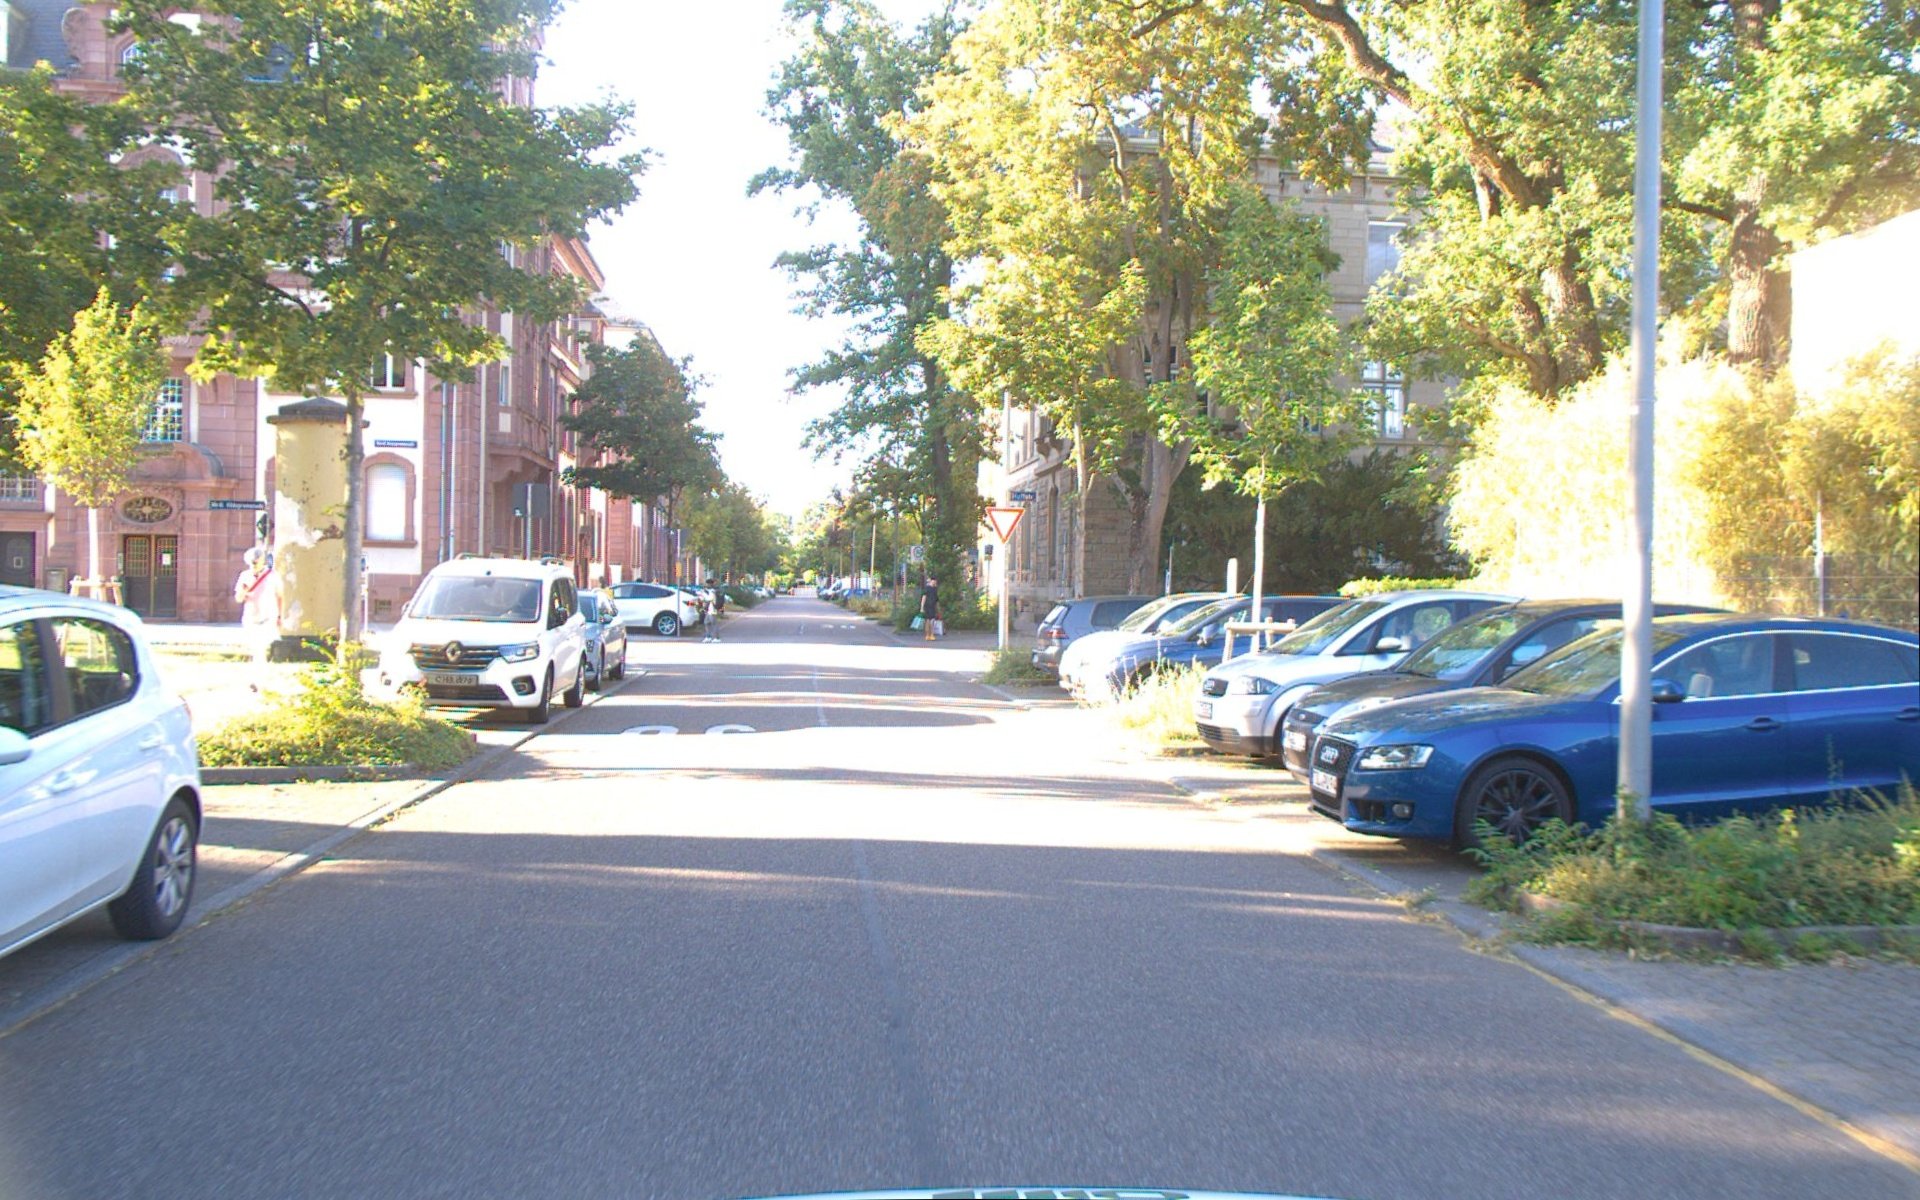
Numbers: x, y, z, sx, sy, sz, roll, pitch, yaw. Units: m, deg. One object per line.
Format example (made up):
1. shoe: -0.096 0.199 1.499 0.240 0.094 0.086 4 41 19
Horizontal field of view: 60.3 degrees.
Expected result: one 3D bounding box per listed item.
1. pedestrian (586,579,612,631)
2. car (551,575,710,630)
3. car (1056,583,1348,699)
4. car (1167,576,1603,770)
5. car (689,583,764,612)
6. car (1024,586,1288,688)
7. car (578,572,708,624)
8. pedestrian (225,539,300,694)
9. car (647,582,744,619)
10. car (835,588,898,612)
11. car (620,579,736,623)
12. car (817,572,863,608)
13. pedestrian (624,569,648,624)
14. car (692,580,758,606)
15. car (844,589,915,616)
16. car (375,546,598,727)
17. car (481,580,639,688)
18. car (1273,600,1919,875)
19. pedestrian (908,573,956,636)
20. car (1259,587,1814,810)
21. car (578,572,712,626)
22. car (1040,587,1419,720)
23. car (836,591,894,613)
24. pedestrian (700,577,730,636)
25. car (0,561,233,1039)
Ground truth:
1. pedestrian: -13.767 0.195 63.076 0.778 1.996 0.712 1 -1 -34
2. car: -10.317 0.074 52.056 4.751 1.622 1.839 1 0 -8
3. car: 3.398 0.564 23.651 3.875 1.543 1.674 1 0 -3
4. car: 3.825 0.617 15.071 3.436 1.612 1.755 1 0 -16
5. car: -13.975 -0.151 99.118 4.398 1.636 1.839 1 0 -8
6. car: 3.047 0.594 26.198 3.876 1.543 1.872 0 -2 -5
7. car: -11.190 -0.066 58.698 4.398 1.747 1.839 1 0 -8
8. pedestrian: -8.424 0.192 20.010 0.588 1.815 0.944 1 0 -9
9. car: -12.384 0.011 77.612 4.398 1.636 1.839 1 0 -8
10. car: -6.946 -0.010 122.682 4.497 1.636 1.839 1 0 -8
11. car: -11.082 0.037 65.163 4.398 1.636 1.839 1 0 -8
12. car: -12.967 -1.068 178.229 4.792 3.681 1.840 1 0 -7
13. pedestrian: -11.842 -0.111 60.438 0.771 1.996 0.718 1 -1 -14
14. car: -15.989 -0.463 112.772 4.398 1.636 1.839 1 0 -8
15. car: -5.162 0.157 105.617 4.398 1.636 1.839 1 0 -8
16. car: -5.455 0.366 19.607 1.747 1.873 4.547 1 0 -6
17. car: -6.244 0.478 26.294 1.746 1.531 4.548 1 0 -5
18. car: 4.412 0.759 10.263 4.499 1.439 1.921 -1 -1 -5
19. pedestrian: -0.848 0.145 50.405 1.052 1.890 0.989 1 0 -37
20. car: 4.329 0.703 12.702 3.613 1.550 1.788 1 0 -9
21. car: -10.725 -0.037 56.572 4.398 1.747 1.839 1 0 -8
22. car: 3.371 0.653 21.083 4.407 1.576 1.887 1 0 -9
23. car: -7.557 0.138 131.197 4.497 1.636 1.839 1 0 -8
24. pedestrian: -6.856 0.195 46.206 0.771 1.634 0.718 1 -1 -12
25. car: -3.915 0.633 5.578 1.561 1.553 3.860 1 0 -6
